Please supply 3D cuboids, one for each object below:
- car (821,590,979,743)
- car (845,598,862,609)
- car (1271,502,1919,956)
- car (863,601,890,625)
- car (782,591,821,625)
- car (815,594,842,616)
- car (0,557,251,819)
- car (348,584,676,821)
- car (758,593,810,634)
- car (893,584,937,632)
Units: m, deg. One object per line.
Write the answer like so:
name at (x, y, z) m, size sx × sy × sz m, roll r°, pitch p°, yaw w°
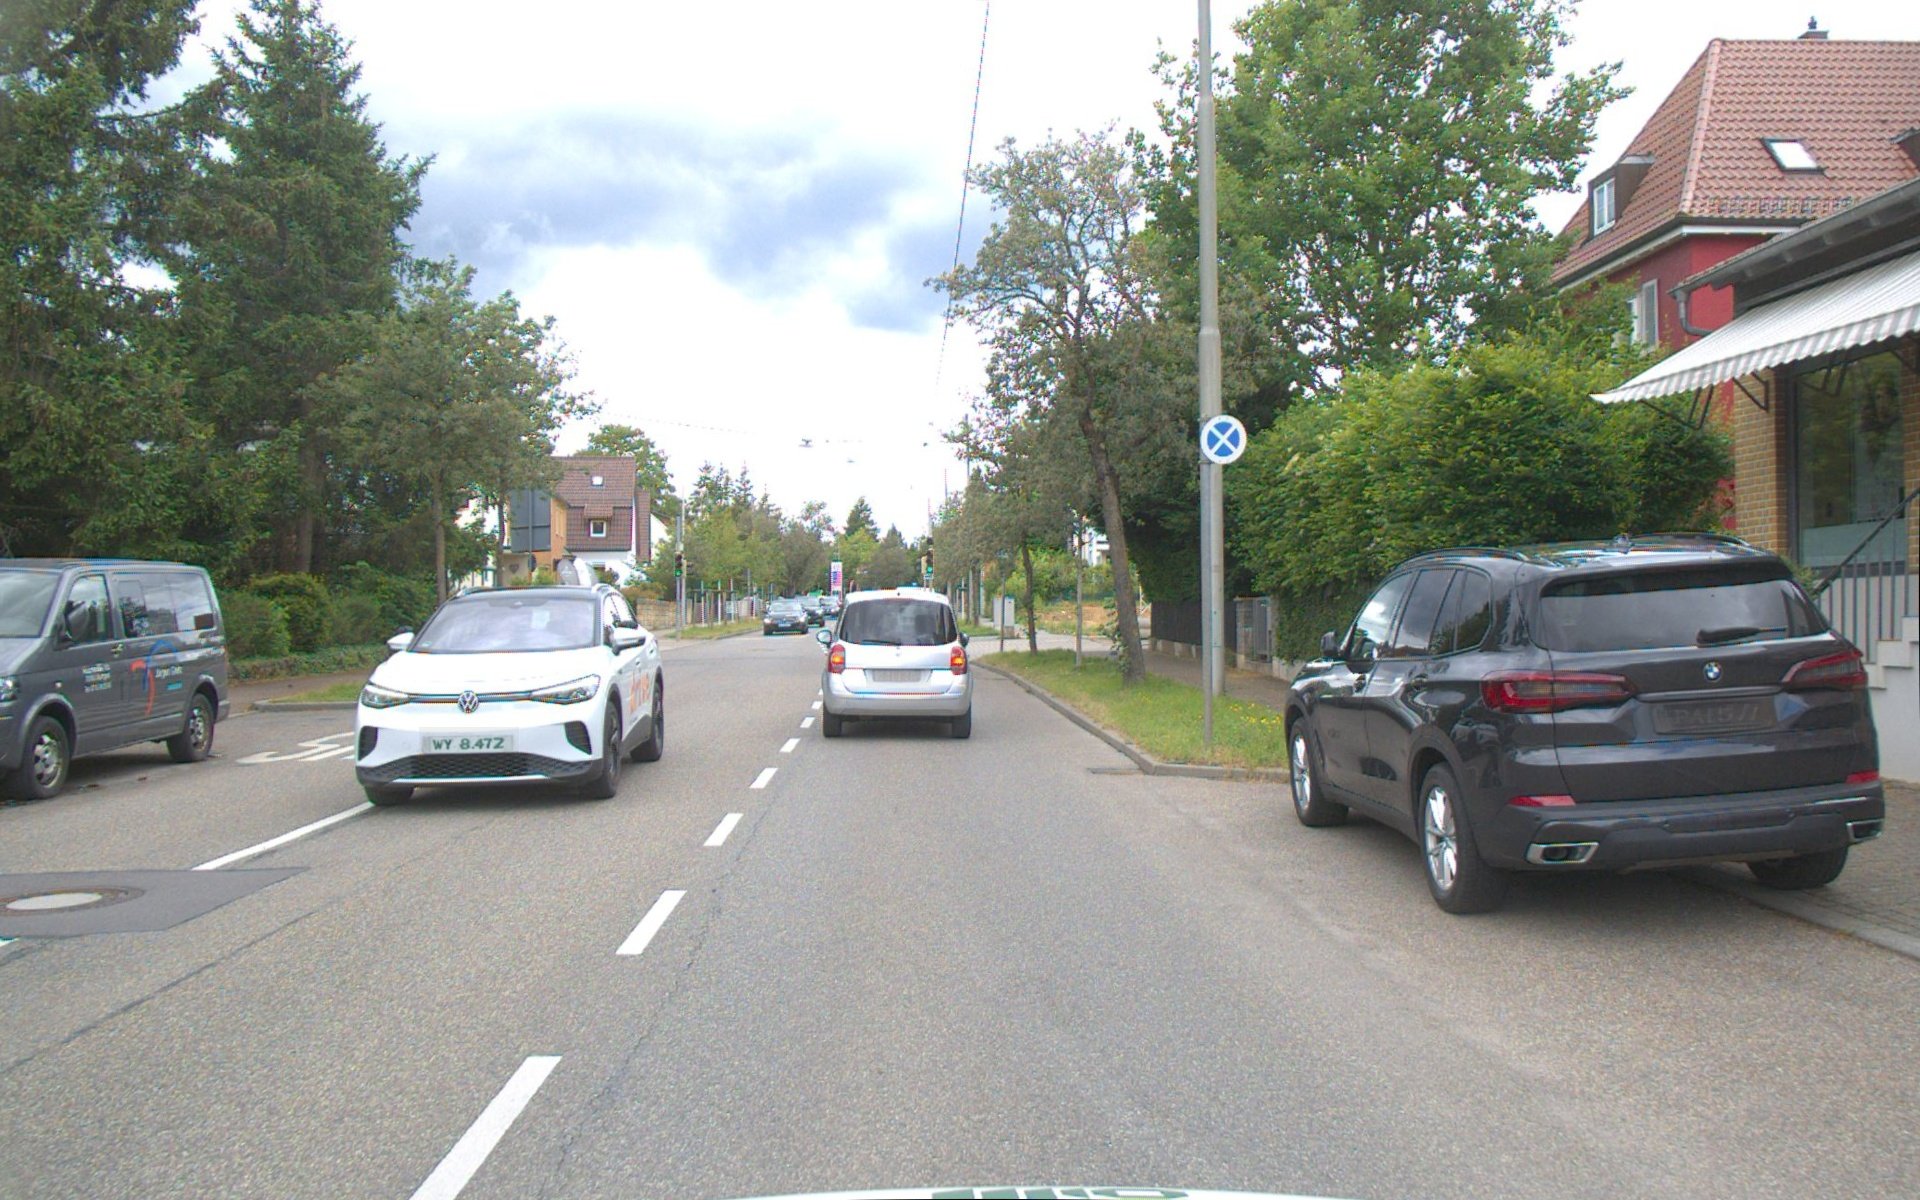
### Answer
car at (-0.708, 0.688, 19.058) m, size 1.646 × 1.587 × 3.510 m, roll 0°, pitch 0°, yaw -3°
car at (-13.937, 0.447, 216.449) m, size 1.665 × 1.532 × 3.962 m, roll 0°, pitch 0°, yaw -11°
car at (3.234, 0.531, 9.506) m, size 1.859 × 1.869 × 4.914 m, roll -2°, pitch 0°, yaw -1°
car at (-6.460, 0.988, 127.811) m, size 1.800 × 1.743 × 3.994 m, roll -2°, pitch 0°, yaw -7°
car at (-8.253, 0.398, 86.264) m, size 1.858 × 1.653 × 3.997 m, roll -1°, pitch 0°, yaw -4°
car at (-9.223, 0.358, 116.174) m, size 1.583 × 1.497 × 3.999 m, roll -1°, pitch 0°, yaw -1°
car at (-8.348, 0.672, 14.892) m, size 1.953 × 1.983 × 4.896 m, roll -1°, pitch 0°, yaw -2°
car at (-3.533, 0.711, 13.850) m, size 1.785 × 1.631 × 4.295 m, roll -1°, pitch 0°, yaw -4°
car at (-7.445, 0.566, 70.213) m, size 1.954 × 1.649 × 4.645 m, roll -1°, pitch 0°, yaw -3°
car at (-2.002, 0.324, 71.984) m, size 1.740 × 1.977 × 4.785 m, roll 0°, pitch 0°, yaw -4°
